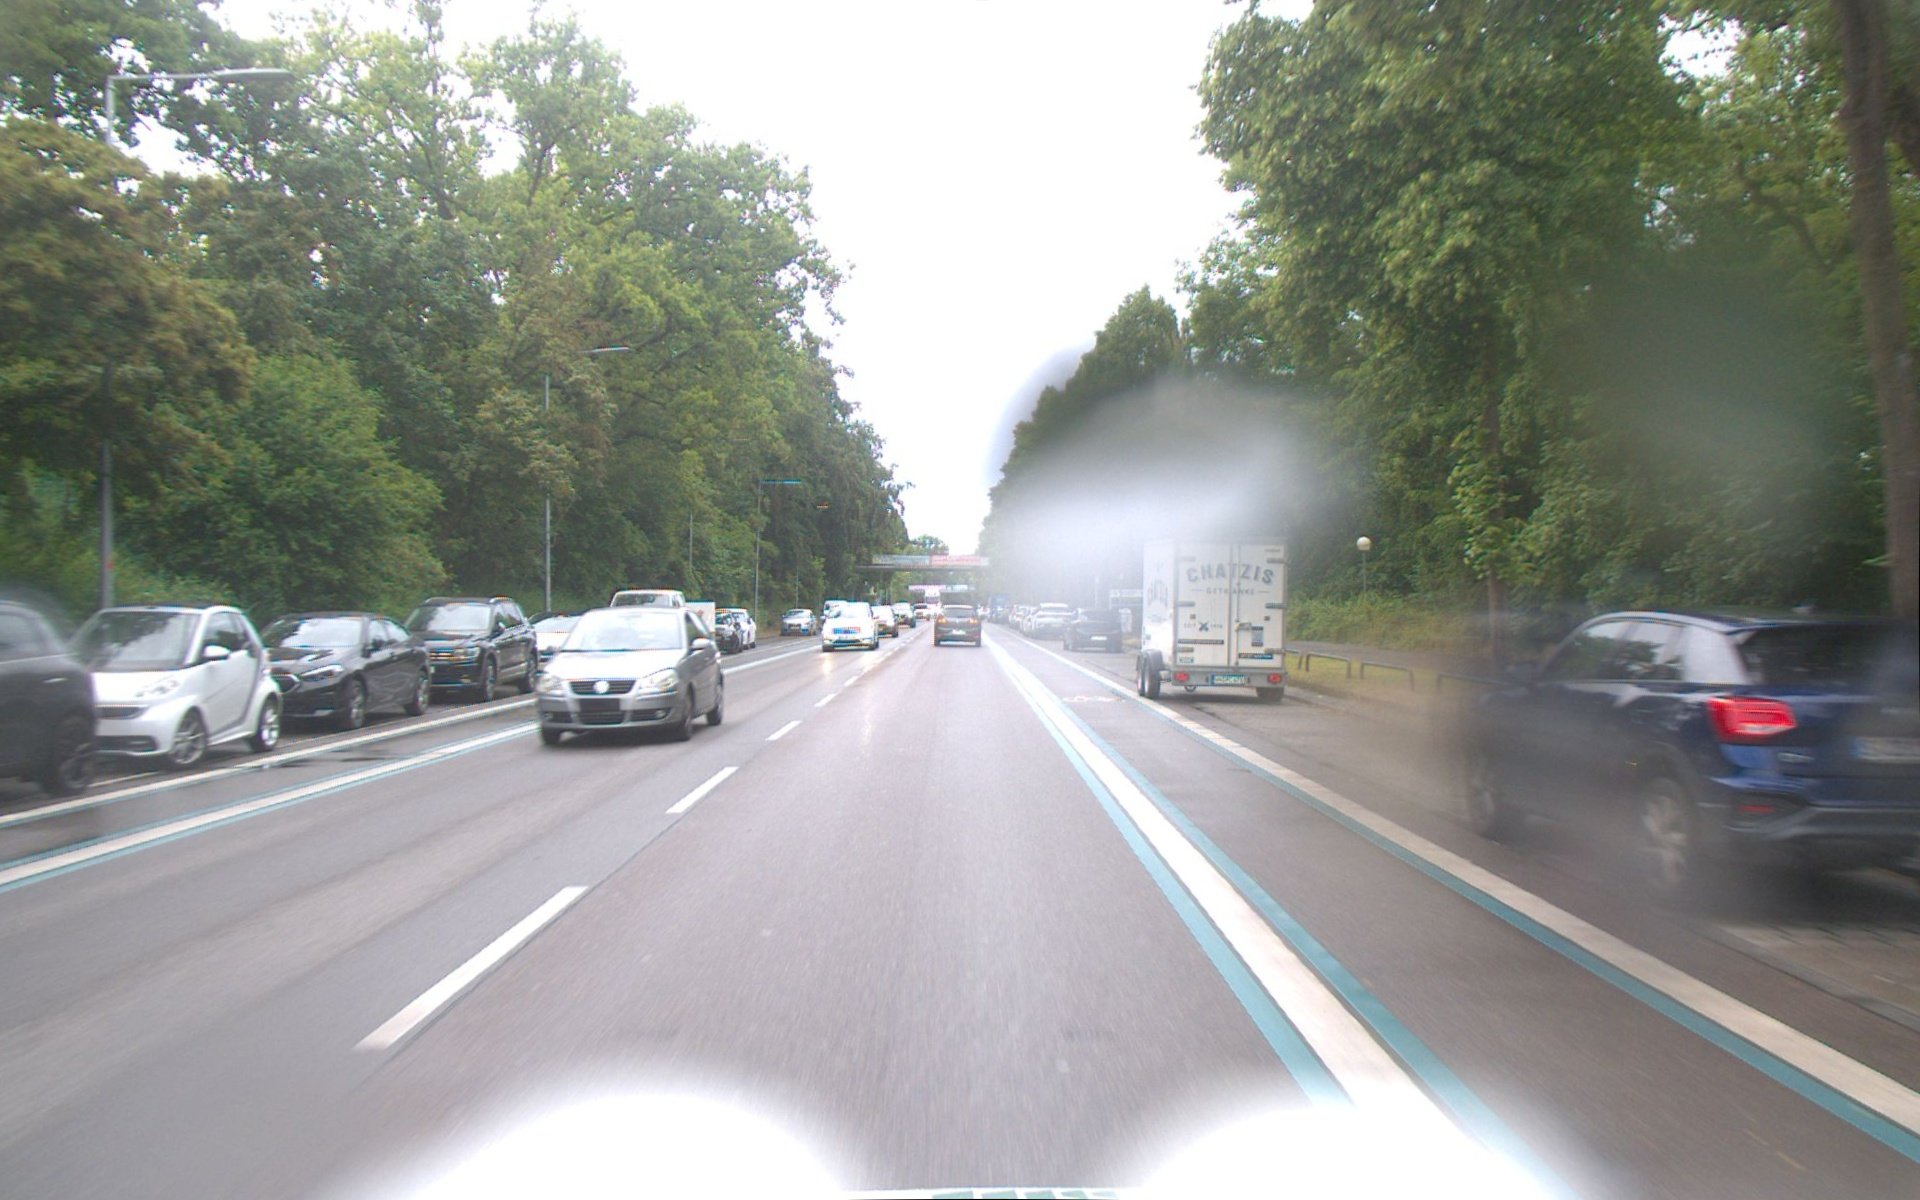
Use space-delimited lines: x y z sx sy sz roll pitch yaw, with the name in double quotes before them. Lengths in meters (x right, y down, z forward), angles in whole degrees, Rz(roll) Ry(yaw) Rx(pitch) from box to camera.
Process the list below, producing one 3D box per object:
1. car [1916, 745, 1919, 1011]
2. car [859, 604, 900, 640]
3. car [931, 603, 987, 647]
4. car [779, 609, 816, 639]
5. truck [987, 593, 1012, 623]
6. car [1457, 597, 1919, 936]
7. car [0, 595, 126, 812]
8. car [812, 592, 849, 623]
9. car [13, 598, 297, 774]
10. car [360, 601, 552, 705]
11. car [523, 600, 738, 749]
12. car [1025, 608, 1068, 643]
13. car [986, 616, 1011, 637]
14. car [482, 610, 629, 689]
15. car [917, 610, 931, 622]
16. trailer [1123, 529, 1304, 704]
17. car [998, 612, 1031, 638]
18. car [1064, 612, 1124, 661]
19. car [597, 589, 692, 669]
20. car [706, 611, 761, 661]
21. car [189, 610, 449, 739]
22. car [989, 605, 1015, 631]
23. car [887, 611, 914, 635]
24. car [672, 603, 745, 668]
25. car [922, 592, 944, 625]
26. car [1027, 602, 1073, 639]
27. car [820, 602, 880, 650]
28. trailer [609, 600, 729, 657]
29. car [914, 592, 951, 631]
"car" 4.445 0.791 4.045 1.647 1.507 4.317 1 0 -1
"car" -3.739 1.003 77.103 1.671 1.599 4.000 0 0 0
"car" -0.084 0.949 60.398 1.834 1.466 4.293 2 -2 -2
"car" -8.809 1.293 89.849 1.638 1.540 3.629 1 0 -1
"truck" 3.571 0.704 150.197 2.069 2.644 4.300 0 0 0
"car" 4.356 0.775 9.551 1.678 1.539 3.974 1 0 -2
"car" -7.975 0.765 11.982 1.661 1.611 4.139 0 0 1
"car" -9.003 0.525 114.996 2.114 2.049 5.031 0 0 0
"car" -7.914 0.791 16.539 1.431 1.599 2.983 0 0 -2
"car" -8.326 0.830 27.745 1.841 1.589 4.468 1 0 0
"car" -3.651 0.767 18.985 1.664 1.511 4.034 -1 0 0
"car" 4.142 1.222 80.001 1.858 1.635 4.000 1 0 0
"car" 3.296 2.283 142.158 1.953 1.803 3.999 -1 -1 0
"car" -8.332 0.989 34.488 1.953 1.514 4.468 1 0 0
"car" -3.603 1.621 164.842 1.350 1.150 3.312 1 0 -1
"trailer" 4.019 0.264 26.913 2.089 2.605 4.295 1 0 -3
"car" 3.454 1.576 105.902 1.953 1.590 4.000 1 0 0
"car" 4.473 1.199 55.678 1.687 1.552 4.000 1 0 0
"car" -8.486 0.765 44.866 1.901 2.049 4.737 1 0 -3
"car" -8.425 1.333 61.682 1.543 1.801 3.415 0 0 0
"car" -8.299 0.901 21.873 1.771 1.514 4.467 1 0 -1
"car" 3.389 1.430 134.072 1.953 2.049 3.998 1 -1 -1
"car" -4.046 1.571 112.740 1.671 1.599 4.000 0 0 0
"car" -8.256 1.144 54.597 1.901 2.049 4.737 1 0 -3
"car" -4.245 1.303 259.758 3.285 5.038 9.008 1 0 -1
"car" 4.080 0.913 75.389 1.858 1.635 4.000 1 0 0
"car" -3.634 0.850 55.255 1.798 1.544 3.999 0 0 -1
"trailer" -8.724 0.843 49.853 1.595 1.657 3.665 0 0 30
"car" -1.463 0.609 89.014 1.953 2.049 4.000 0 0 0
